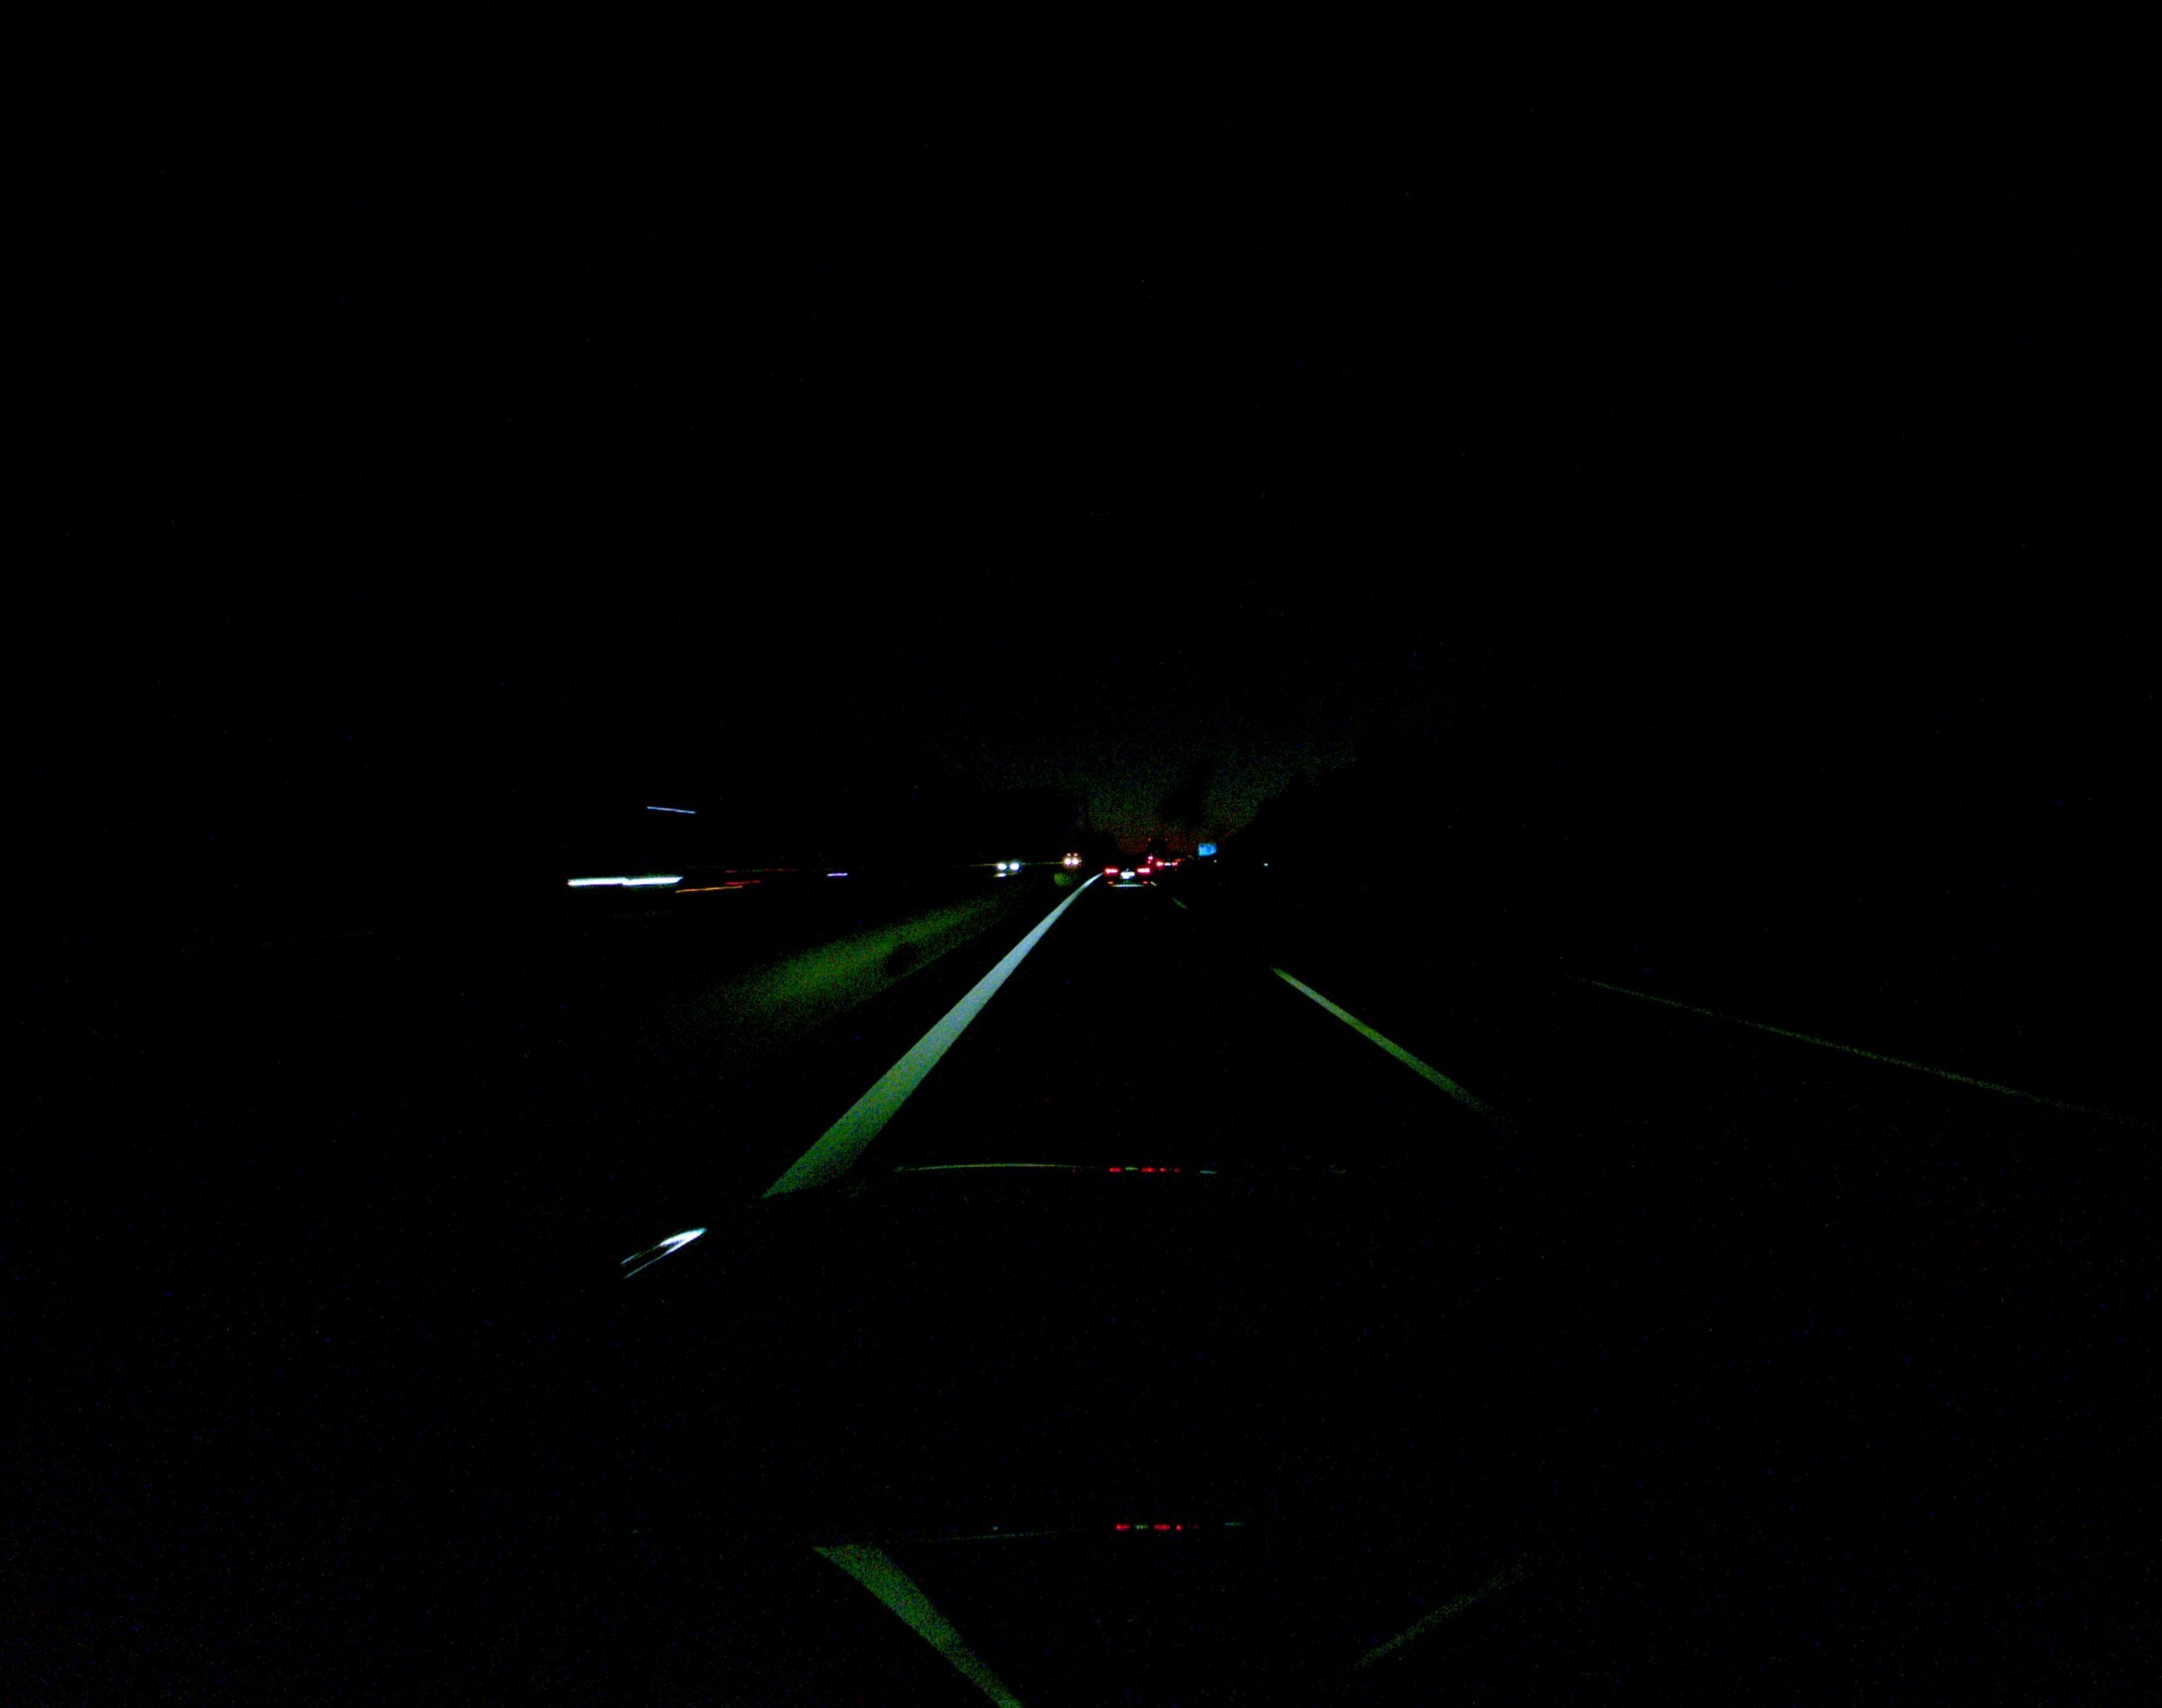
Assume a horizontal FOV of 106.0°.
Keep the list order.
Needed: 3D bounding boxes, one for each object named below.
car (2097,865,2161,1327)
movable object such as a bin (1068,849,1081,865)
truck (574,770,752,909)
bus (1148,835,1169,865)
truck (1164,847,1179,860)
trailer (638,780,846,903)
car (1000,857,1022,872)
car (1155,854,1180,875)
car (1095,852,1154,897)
[{"bbox_3d":[4.229,0.734,0.117,1.829,1.401,5.067,-1,0,-1],"label":"car"},{"bbox_3d":[-1.361,0.724,181.692,2.197,3.417,7.446,-1,0,5],"label":"movable object such as a bin"},{"bbox_3d":[-14.680,-0.461,29.279,2.840,4.433,6.401,0,0,3],"label":"truck"},{"bbox_3d":[11.856,-0.515,123.058,2.638,3.994,14.727,-3,-2,7],"label":"bus"},{"bbox_3d":[22.349,-0.060,202.399,2.539,3.016,9.047,0,0,-1],"label":"truck"},{"bbox_3d":[-14.302,-0.431,36.510,2.840,4.433,13.991,0,0,3],"label":"trailer"},{"bbox_3d":[-7.473,1.115,86.748,1.806,1.453,4.135,-1,0,2],"label":"car"},{"bbox_3d":[7.497,0.953,70.879,1.903,1.730,4.003,2,-1,3],"label":"car"},{"bbox_3d":[1.648,0.758,32.121,2.099,1.618,4.204,0,1,0],"label":"car"}]
